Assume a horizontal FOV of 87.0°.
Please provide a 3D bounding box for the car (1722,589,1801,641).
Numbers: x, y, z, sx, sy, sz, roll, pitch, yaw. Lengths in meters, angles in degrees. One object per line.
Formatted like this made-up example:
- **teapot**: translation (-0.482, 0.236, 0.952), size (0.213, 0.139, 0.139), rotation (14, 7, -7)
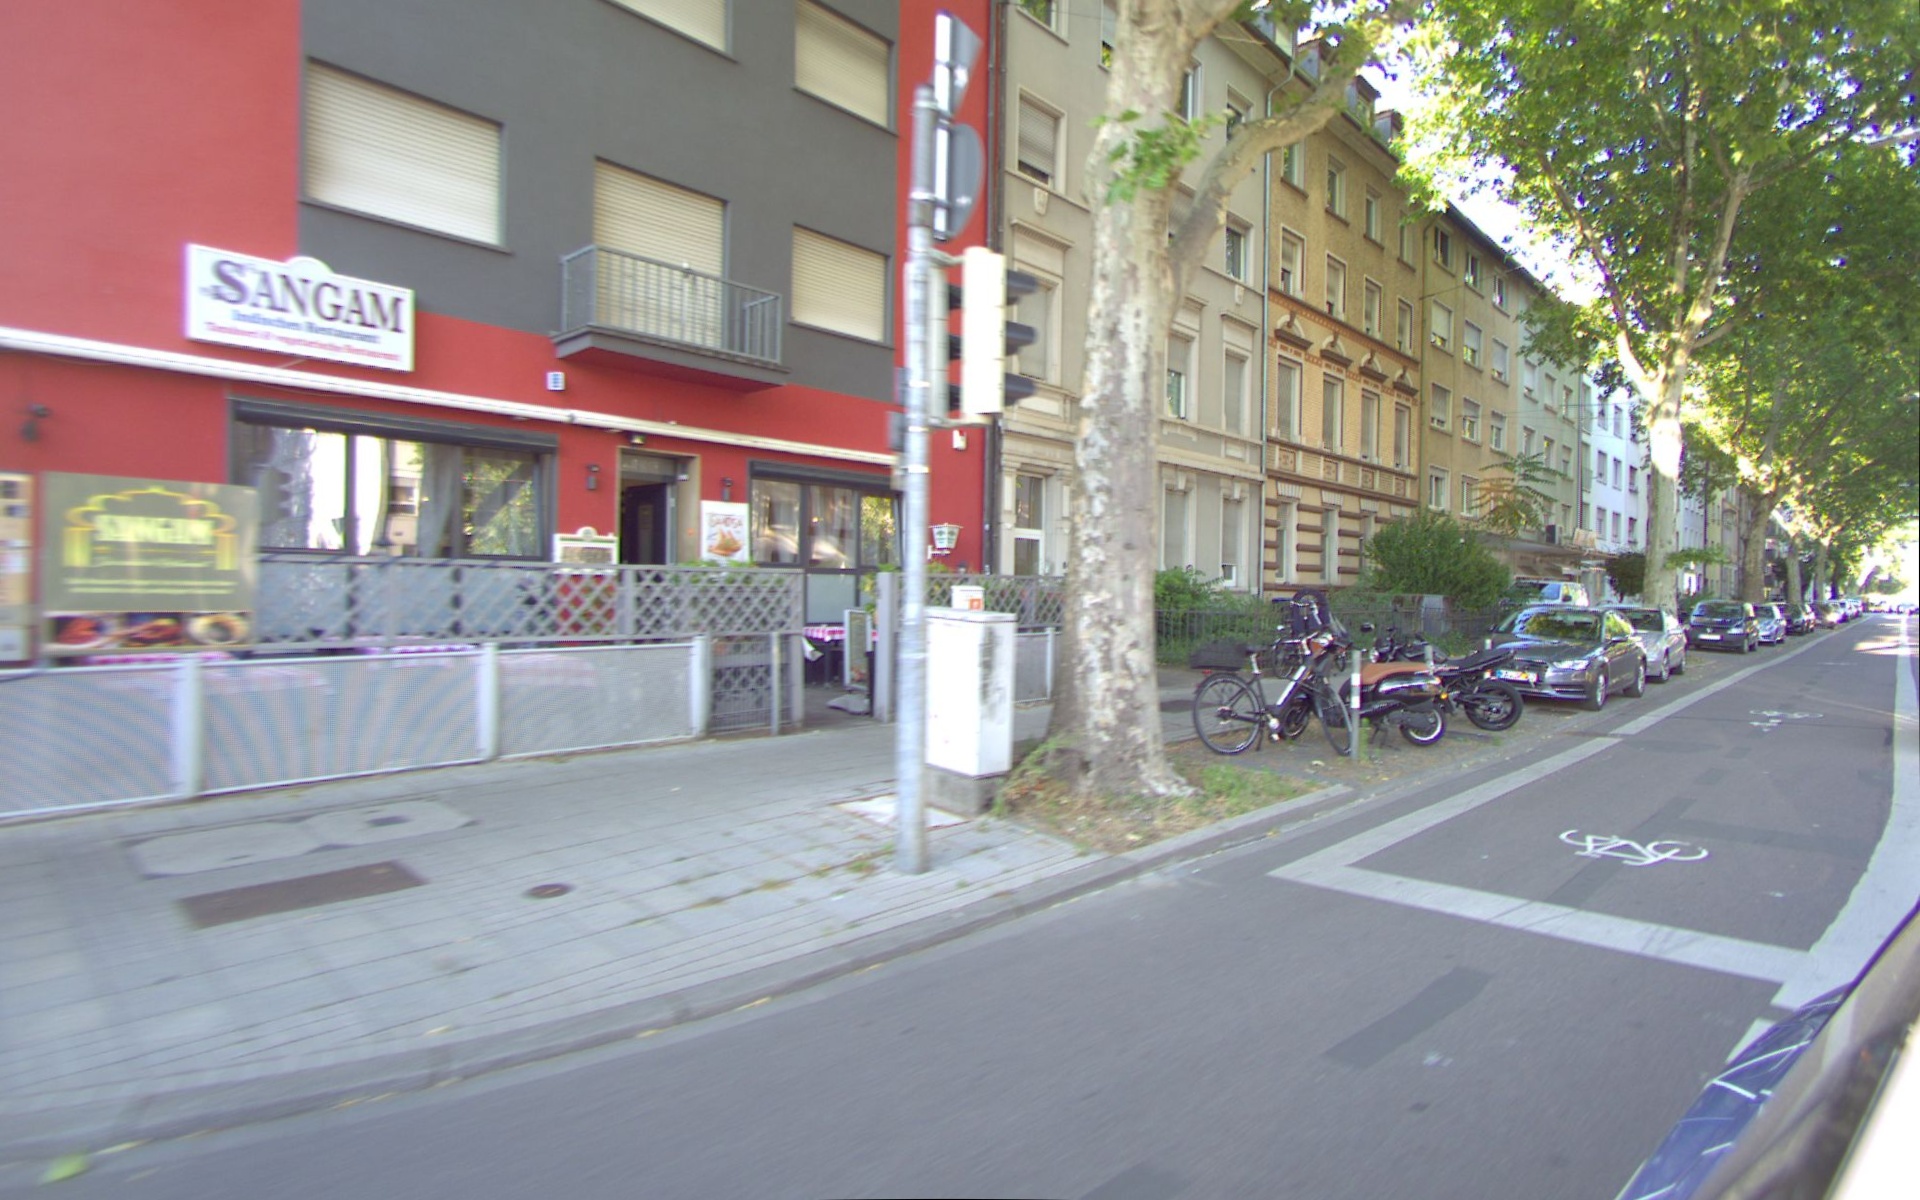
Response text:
- **car**: translation (28.654, 0.485, 36.128), size (1.798, 1.628, 4.302), rotation (4, 3, 43)

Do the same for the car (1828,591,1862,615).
- **car**: translation (69.493, 0.215, 79.411), size (1.798, 1.774, 4.041), rotation (4, 3, 43)

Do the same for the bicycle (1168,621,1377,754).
- **bicycle**: translation (2.893, 0.808, 9.365), size (1.762, 1.125, 0.622), rotation (3, 1, -19)

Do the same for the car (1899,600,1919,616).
- **car**: translation (120.158, 1.001, 127.895), size (1.994, 2.039, 3.936), rotation (-1, 0, 45)

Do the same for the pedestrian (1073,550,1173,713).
- **pedestrian**: translation (1.844, 0.322, 11.428), size (0.727, 1.731, 0.803), rotation (4, 4, 44)

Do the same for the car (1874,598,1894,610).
- **car**: translation (152.362, 0.607, 166.879), size (3.930, 1.884, 1.997), rotation (-1, 0, -41)

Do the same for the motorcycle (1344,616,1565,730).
- **motorcycle**: translation (5.719, 0.817, 11.849), size (2.184, 1.125, 0.660), rotation (3, 1, 18)

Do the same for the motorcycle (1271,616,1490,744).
- **motorcycle**: translation (4.252, 0.793, 10.349), size (1.855, 1.125, 0.785), rotation (3, 1, 2)

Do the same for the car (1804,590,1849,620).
- **car**: translation (51.634, 0.287, 60.286), size (1.798, 1.628, 4.041), rotation (4, 3, 43)

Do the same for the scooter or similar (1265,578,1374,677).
- **scooter or similar**: translation (5.863, 0.400, 16.390), size (0.665, 1.488, 2.504), rotation (1, 1, 44)

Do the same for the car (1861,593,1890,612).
- **car**: translation (82.153, 0.212, 90.771), size (1.799, 1.627, 3.644), rotation (4, 3, 43)

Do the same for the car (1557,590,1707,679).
- **car**: translation (13.421, 0.592, 20.098), size (1.798, 1.473, 4.443), rotation (4, 3, 42)

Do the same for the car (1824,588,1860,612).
- **car**: translation (65.333, -0.038, 74.919), size (1.798, 1.628, 4.041), rotation (4, 3, 43)

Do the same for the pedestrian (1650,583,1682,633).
- **pedestrian**: translation (23.091, 0.259, 33.095), size (0.726, 1.600, 0.691), rotation (1, 1, 44)

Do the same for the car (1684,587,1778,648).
- **car**: translation (23.463, 0.476, 30.742), size (1.798, 1.628, 4.302), rotation (4, 3, 43)

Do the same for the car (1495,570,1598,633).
- **car**: translation (19.776, 0.028, 34.042), size (1.929, 1.897, 4.605), rotation (4, 3, 43)

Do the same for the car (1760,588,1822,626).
- **car**: translation (37.542, 0.288, 45.688), size (1.798, 1.521, 4.302), rotation (4, 3, 43)

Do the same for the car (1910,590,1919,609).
- **car**: translation (107.486, -0.089, 113.021), size (1.993, 2.039, 3.937), rotation (-1, 0, 44)

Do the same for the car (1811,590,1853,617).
- **car**: translation (56.860, 0.206, 65.967), size (1.798, 1.628, 4.041), rotation (4, 3, 43)

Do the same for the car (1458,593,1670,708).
- **car**: translation (9.377, 0.656, 15.562), size (1.799, 1.419, 4.300), rotation (5, 3, 44)
